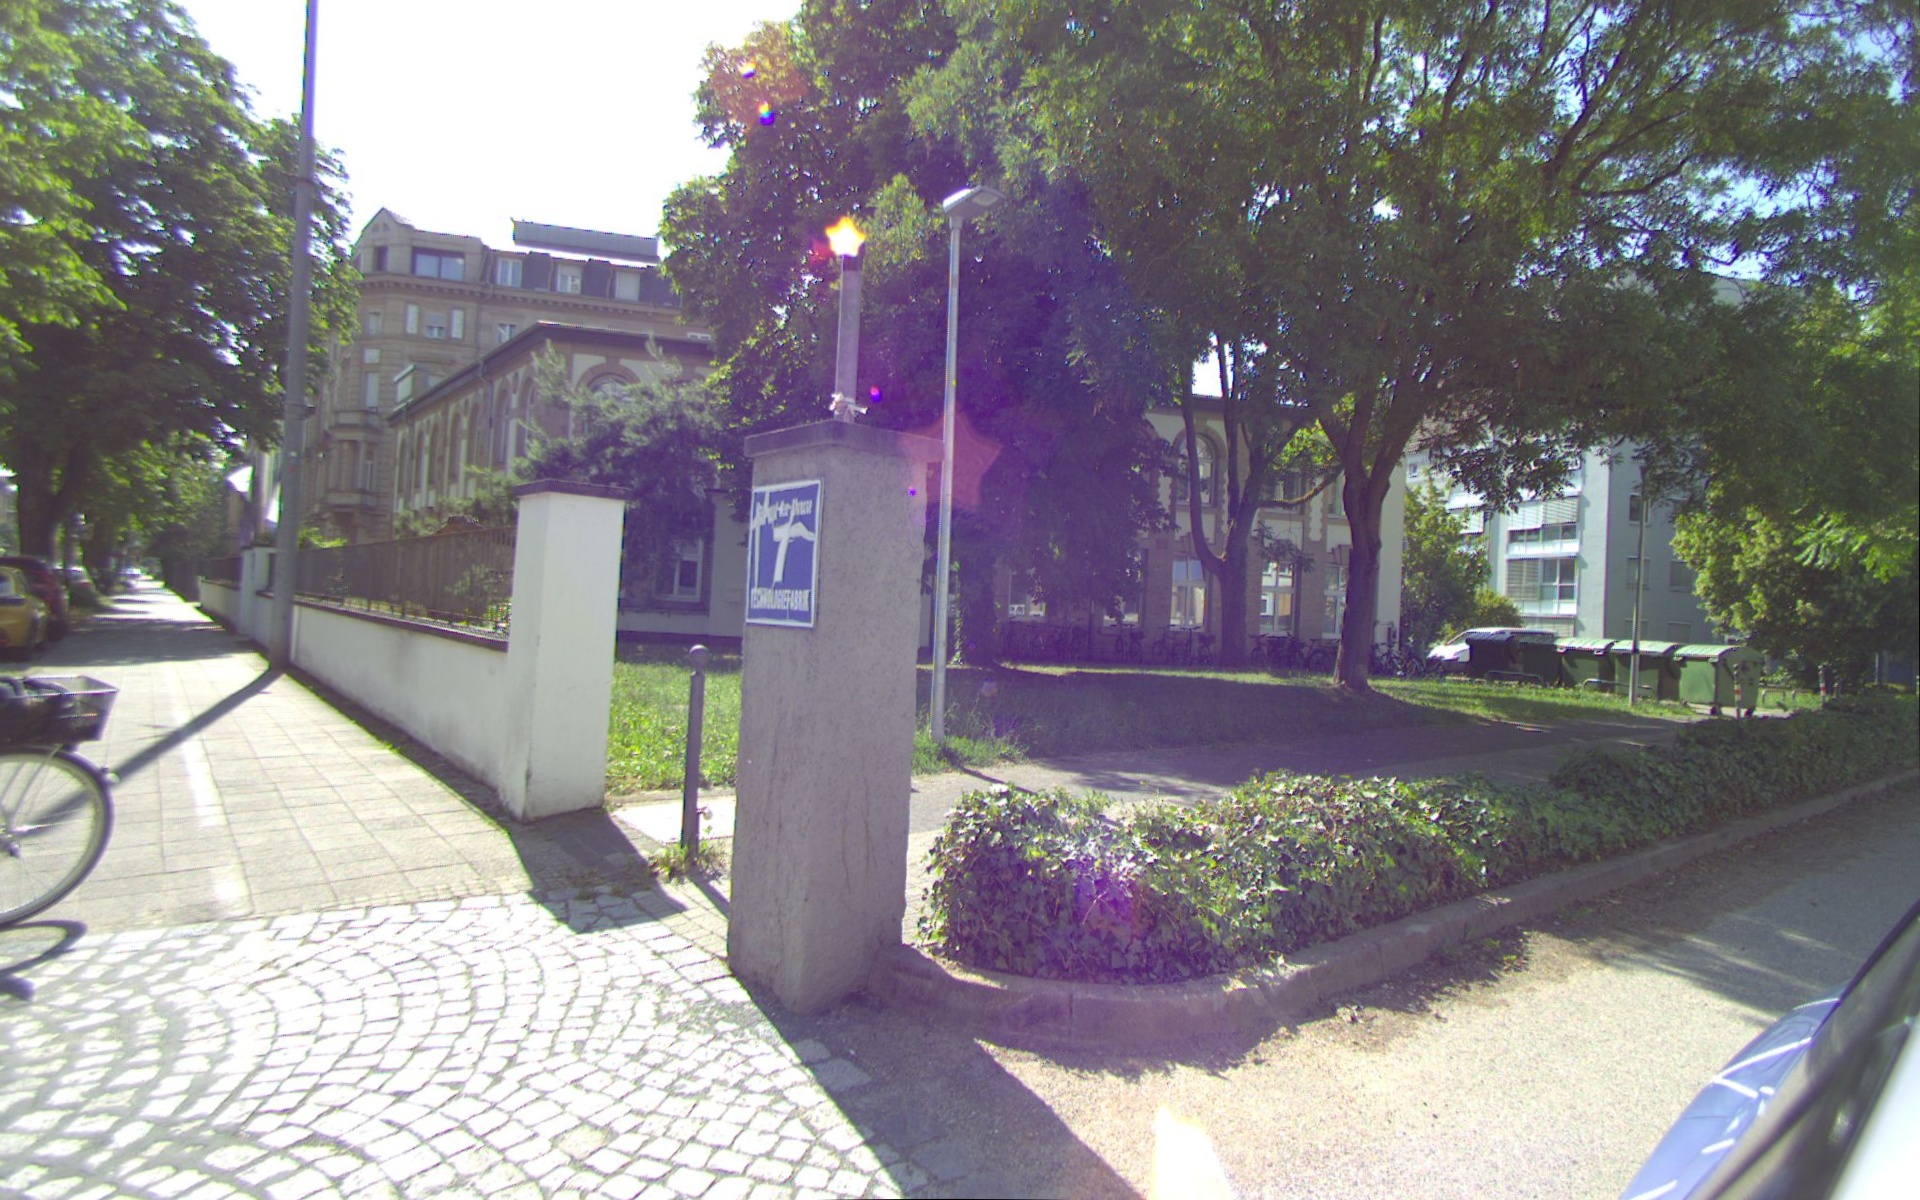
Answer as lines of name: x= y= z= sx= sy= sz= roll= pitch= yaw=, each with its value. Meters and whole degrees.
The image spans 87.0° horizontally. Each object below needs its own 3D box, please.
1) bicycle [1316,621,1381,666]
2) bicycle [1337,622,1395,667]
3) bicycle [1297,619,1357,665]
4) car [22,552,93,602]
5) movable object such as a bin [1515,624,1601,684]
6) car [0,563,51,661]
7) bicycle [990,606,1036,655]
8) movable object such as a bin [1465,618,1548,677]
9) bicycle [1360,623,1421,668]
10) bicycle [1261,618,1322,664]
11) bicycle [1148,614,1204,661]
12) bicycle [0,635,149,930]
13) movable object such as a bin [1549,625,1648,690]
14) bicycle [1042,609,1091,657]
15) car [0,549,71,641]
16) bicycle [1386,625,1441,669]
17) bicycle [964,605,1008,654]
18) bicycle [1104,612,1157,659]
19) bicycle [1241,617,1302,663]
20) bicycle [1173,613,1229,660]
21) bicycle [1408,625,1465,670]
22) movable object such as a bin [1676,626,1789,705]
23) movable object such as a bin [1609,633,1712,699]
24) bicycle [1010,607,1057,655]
bicycle: x=11.073 y=1.224 z=28.908 sx=0.575 sy=1.176 sz=2.107 roll=3 pitch=0 yaw=-14
bicycle: x=11.622 y=1.261 z=29.020 sx=0.484 sy=1.176 sz=1.918 roll=3 pitch=0 yaw=-14
bicycle: x=10.379 y=1.176 z=28.666 sx=0.575 sy=1.176 sz=1.926 roll=3 pitch=0 yaw=-14
car: x=-33.886 y=-0.868 z=38.079 sx=1.824 sy=1.701 sz=3.995 roll=3 pitch=0 yaw=-40
movable object such as a bin: x=14.870 y=1.329 z=25.202 sx=1.190 sy=1.366 sz=1.355 roll=3 pitch=-1 yaw=-17
car: x=-15.932 y=0.114 z=16.233 sx=1.824 sy=1.429 sz=3.995 roll=3 pitch=0 yaw=-40
bicycle: x=1.373 y=0.783 z=26.706 sx=0.575 sy=1.176 sz=2.107 roll=3 pitch=0 yaw=-14
movable object such as a bin: x=14.395 y=1.242 z=26.706 sx=1.223 sy=1.427 sz=1.439 roll=3 pitch=-1 yaw=-18
bicycle: x=12.429 y=1.301 z=29.269 sx=0.600 sy=1.176 sz=1.855 roll=3 pitch=0 yaw=-14
bicycle: x=9.314 y=1.124 z=28.518 sx=0.575 sy=1.176 sz=2.107 roll=3 pitch=0 yaw=-14
bicycle: x=5.897 y=1.010 z=27.741 sx=0.575 sy=1.176 sz=2.107 roll=3 pitch=0 yaw=-14
bicycle: x=-3.799 y=0.655 z=3.485 sx=0.361 sy=1.054 sz=1.495 roll=2 pitch=-1 yaw=32
movable object such as a bin: x=14.892 y=1.326 z=23.646 sx=1.190 sy=1.379 sz=1.505 roll=3 pitch=-1 yaw=-17
bicycle: x=2.836 y=0.860 z=27.124 sx=0.575 sy=1.176 sz=2.107 roll=3 pitch=0 yaw=-14
car: x=-19.157 y=-0.155 z=20.308 sx=1.824 sy=1.701 sz=3.995 roll=3 pitch=0 yaw=-40
bicycle: x=13.081 y=1.340 z=29.268 sx=0.496 sy=1.176 sz=1.808 roll=3 pitch=0 yaw=-9
bicycle: x=0.668 y=0.758 z=26.538 sx=0.575 sy=1.176 sz=2.107 roll=3 pitch=0 yaw=-14
bicycle: x=4.593 y=0.947 z=27.464 sx=0.575 sy=1.176 sz=2.107 roll=3 pitch=0 yaw=-14
bicycle: x=8.691 y=1.088 z=28.310 sx=0.575 sy=1.176 sz=2.107 roll=3 pitch=0 yaw=-14
bicycle: x=6.627 y=0.995 z=27.955 sx=0.575 sy=1.176 sz=2.107 roll=3 pitch=0 yaw=-14
bicycle: x=13.703 y=1.356 z=29.164 sx=0.546 sy=1.176 sz=1.946 roll=3 pitch=0 yaw=-4
movable object such as a bin: x=15.827 y=1.314 z=20.786 sx=1.192 sy=1.481 sz=1.393 roll=3 pitch=-1 yaw=-2
movable object such as a bin: x=15.330 y=1.434 z=22.181 sx=1.190 sy=1.317 sz=1.358 roll=3 pitch=-1 yaw=-17
bicycle: x=1.936 y=0.803 z=26.971 sx=0.575 sy=1.176 sz=2.107 roll=3 pitch=0 yaw=-14
